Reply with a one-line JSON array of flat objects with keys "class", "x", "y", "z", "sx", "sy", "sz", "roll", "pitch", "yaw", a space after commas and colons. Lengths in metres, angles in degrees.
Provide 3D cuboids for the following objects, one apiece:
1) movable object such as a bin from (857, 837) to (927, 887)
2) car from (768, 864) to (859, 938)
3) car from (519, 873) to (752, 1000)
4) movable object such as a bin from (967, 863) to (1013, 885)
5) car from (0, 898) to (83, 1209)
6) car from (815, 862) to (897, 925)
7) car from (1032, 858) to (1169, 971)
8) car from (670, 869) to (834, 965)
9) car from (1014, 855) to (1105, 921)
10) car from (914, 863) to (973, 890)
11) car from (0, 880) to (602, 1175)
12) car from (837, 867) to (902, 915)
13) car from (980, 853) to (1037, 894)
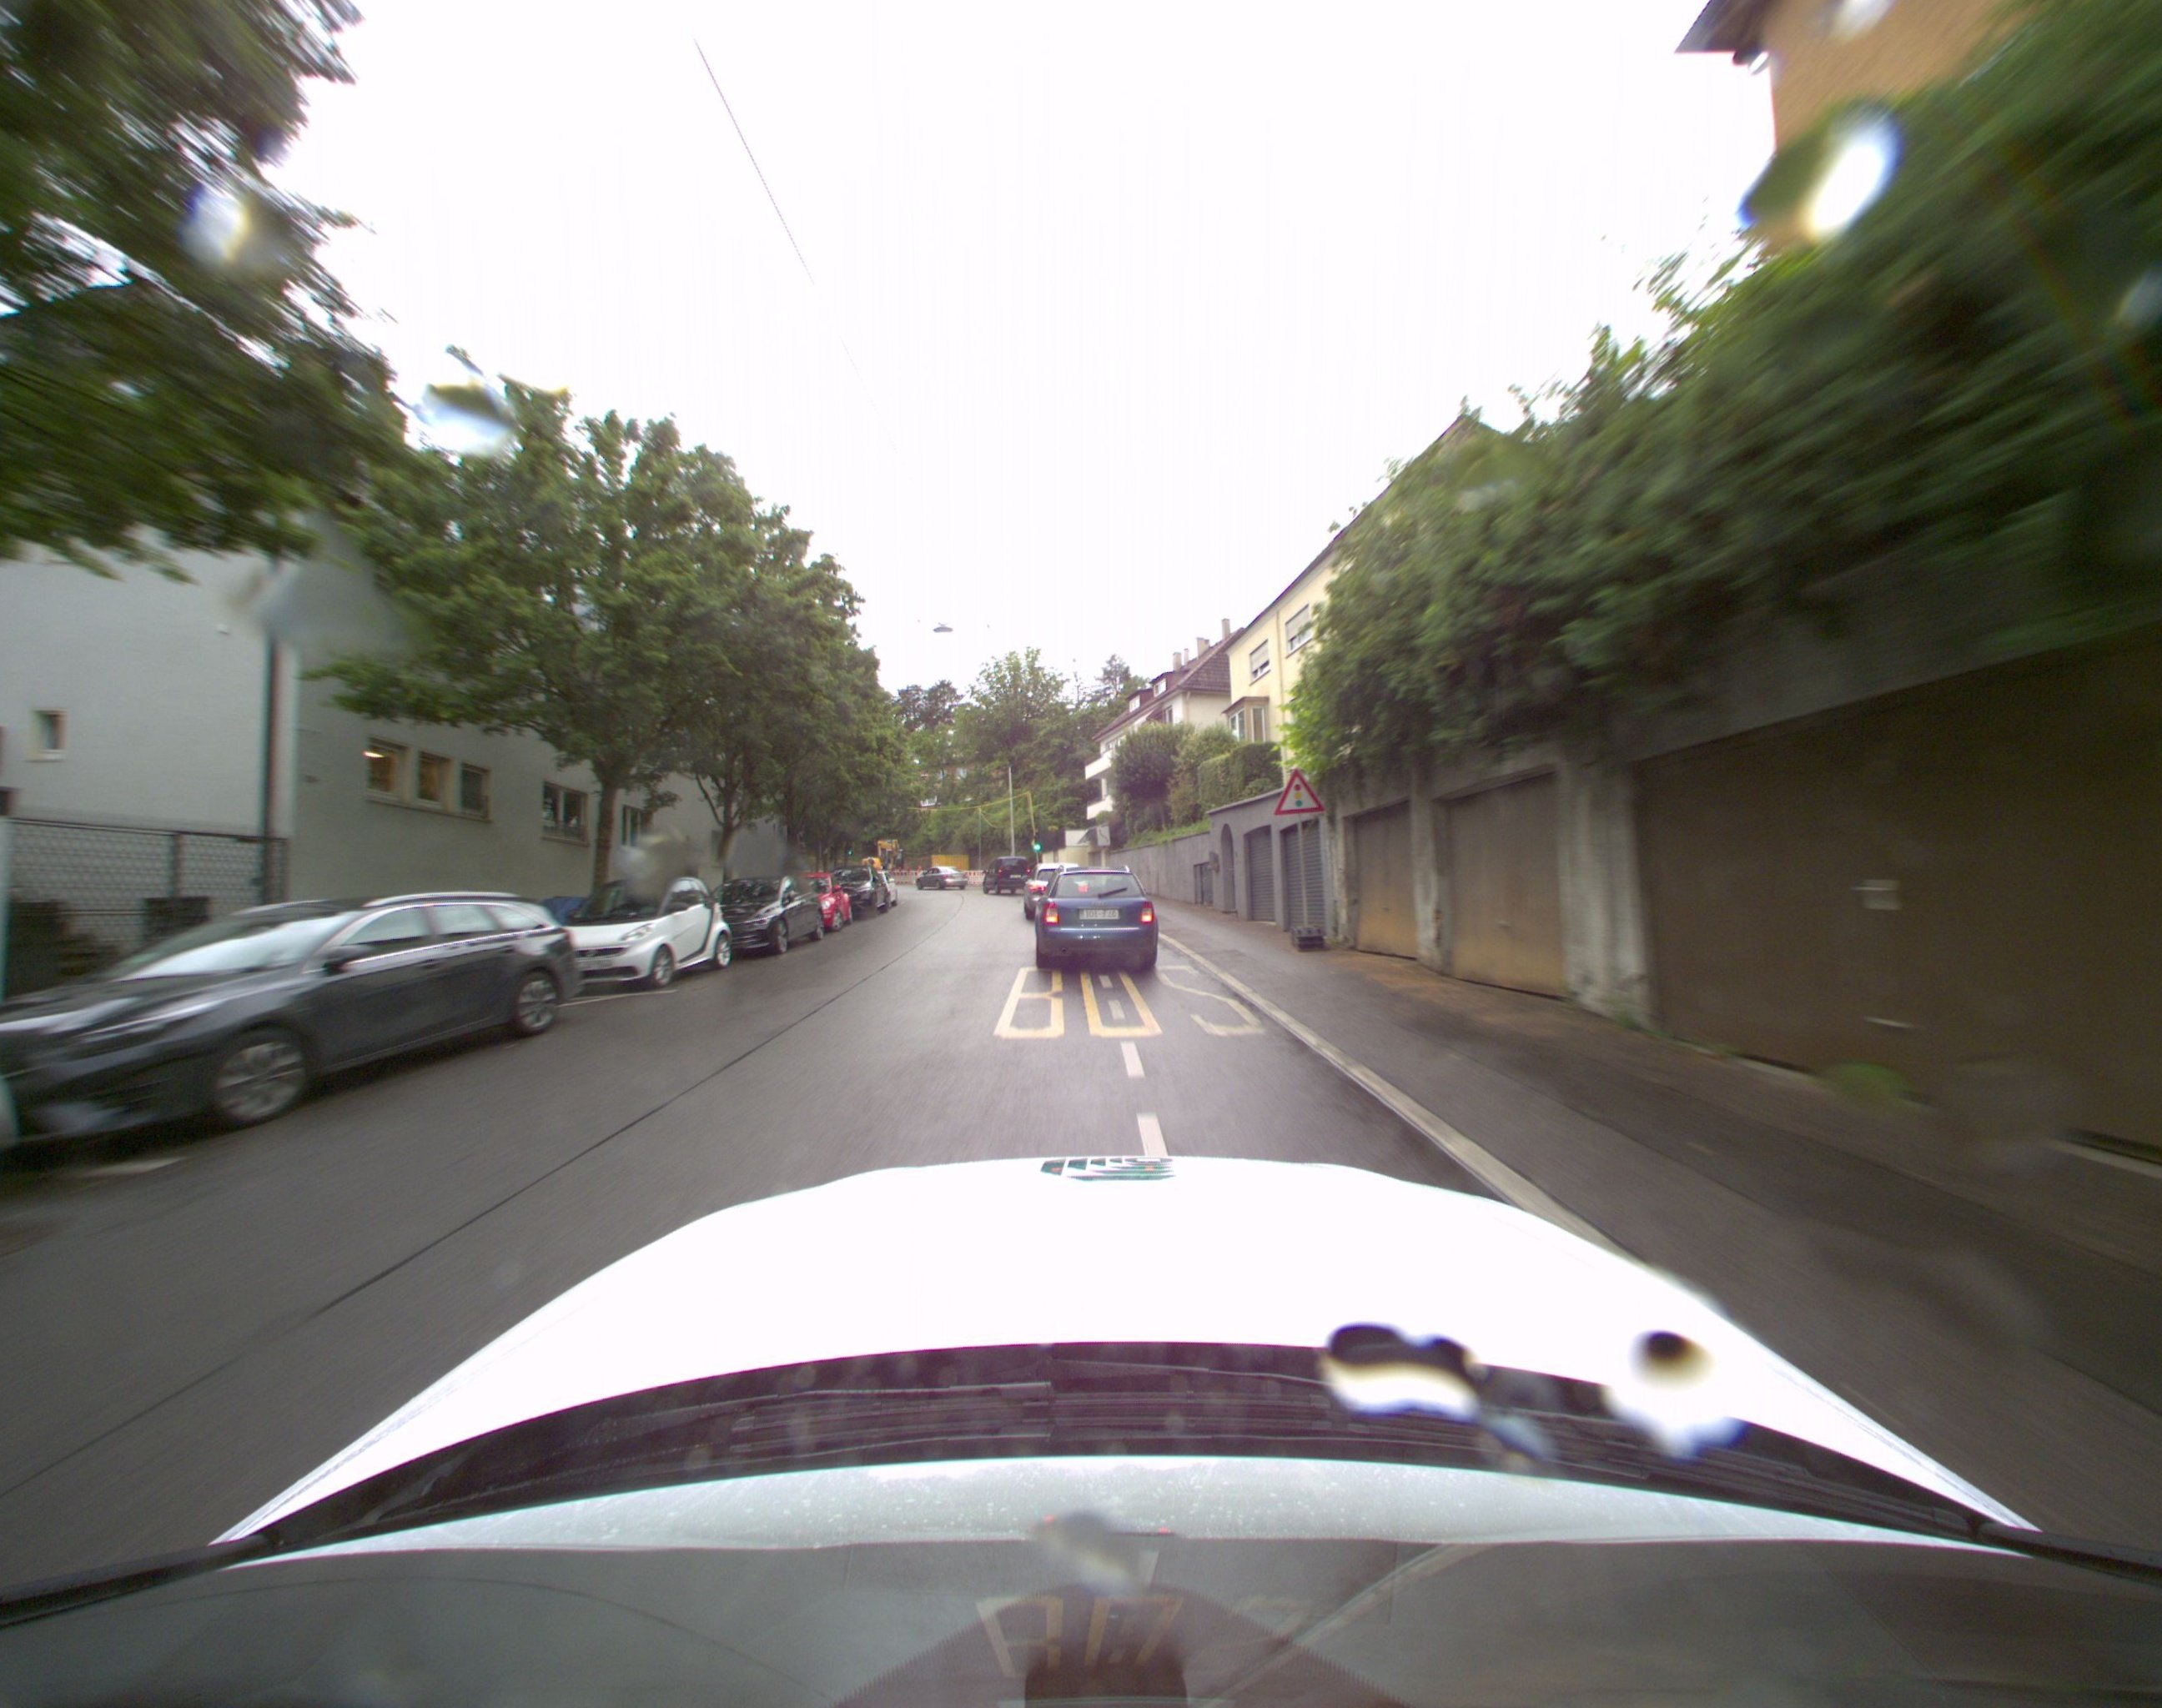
[{"class": "movable object such as a bin", "x": -16.081, "y": 0.653, "z": 69.046, "sx": 2.843, "sy": 4.014, "sz": 7.242, "roll": -1, "pitch": 0, "yaw": -39}, {"class": "car", "x": -6.765, "y": 1.158, "z": 20.929, "sx": 1.634, "sy": 1.564, "sz": 3.832, "roll": -6, "pitch": -1, "yaw": -12}, {"class": "car", "x": -6.490, "y": 1.110, "z": 12.303, "sx": 1.551, "sy": 1.510, "sz": 3.382, "roll": -5, "pitch": -1, "yaw": -1}, {"class": "movable object such as a bin", "x": -6.717, "y": 1.446, "z": 60.045, "sx": 2.005, "sy": 1.519, "sz": 3.962, "roll": 0, "pitch": 0, "yaw": -29}, {"class": "car", "x": -6.087, "y": 1.054, "z": 2.516, "sx": 1.569, "sy": 1.488, "sz": 3.470, "roll": -6, "pitch": 0, "yaw": 1}, {"class": "car", "x": -7.156, "y": 1.183, "z": 26.340, "sx": 1.681, "sy": 1.608, "sz": 4.565, "roll": -8, "pitch": 1, "yaw": -7}, {"class": "car", "x": 0.192, "y": 0.813, "z": 12.771, "sx": 1.781, "sy": 1.442, "sz": 3.960, "roll": -2, "pitch": -1, "yaw": -2}, {"class": "car", "x": -6.277, "y": 1.130, "z": 16.055, "sx": 1.551, "sy": 1.488, "sz": 4.094, "roll": -6, "pitch": -1, "yaw": -2}, {"class": "car", "x": -0.708, "y": 0.858, "z": 22.561, "sx": 1.926, "sy": 1.618, "sz": 4.306, "roll": -1, "pitch": 0, "yaw": -10}, {"class": "car", "x": -8.524, "y": 1.421, "z": 50.138, "sx": 1.735, "sy": 1.486, "sz": 4.028, "roll": -3, "pitch": 0, "yaw": -40}, {"class": "car", "x": -6.182, "y": 1.073, "z": 6.683, "sx": 1.658, "sy": 1.488, "sz": 4.476, "roll": -6, "pitch": -1, "yaw": 1}, {"class": "car", "x": -8.004, "y": 1.358, "z": 31.178, "sx": 1.680, "sy": 1.508, "sz": 4.305, "roll": -5, "pitch": 0, "yaw": -7}, {"class": "car", "x": -3.637, "y": 0.955, "z": 40.137, "sx": 1.998, "sy": 1.794, "sz": 3.977, "roll": -3, "pitch": 0, "yaw": -17}]
